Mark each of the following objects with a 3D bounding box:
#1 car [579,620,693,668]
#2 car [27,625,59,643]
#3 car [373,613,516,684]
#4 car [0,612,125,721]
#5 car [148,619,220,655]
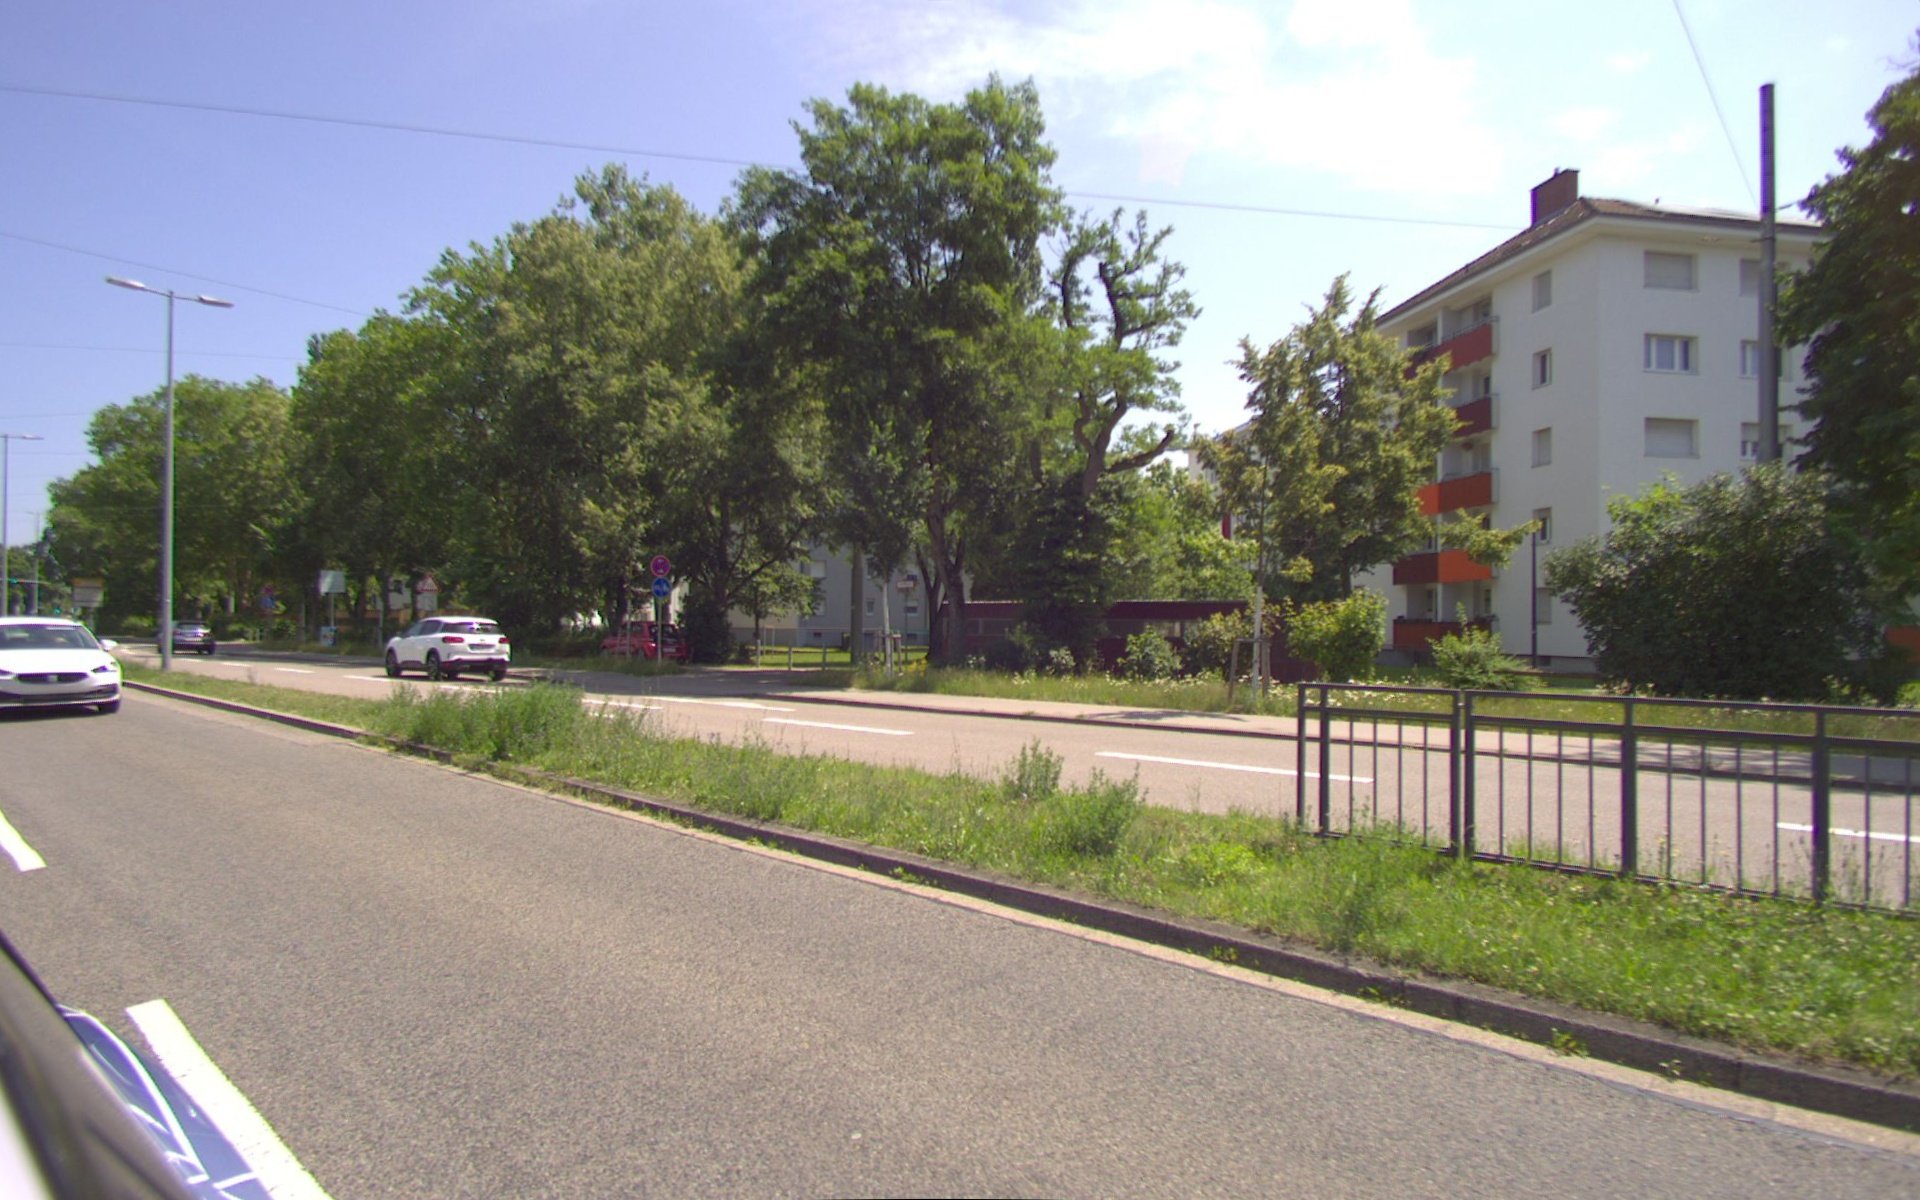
[{"bbox_3d":[-11.289,1.501,35.157,3.998,1.597,1.973,-1,-3,41],"label":"car"},{"bbox_3d":[-80.837,2.993,89.231,4.636,1.520,1.721,-1,-3,44],"label":"car"},{"bbox_3d":[-13.933,1.279,27.257,4.477,1.772,1.840,-1,-3,41],"label":"car"},{"bbox_3d":[-14.383,0.942,15.529,4.109,1.479,1.749,-1,-1,41],"label":"car"},{"bbox_3d":[-36.025,1.706,46.949,4.080,1.566,1.749,-1,-3,40],"label":"car"}]
